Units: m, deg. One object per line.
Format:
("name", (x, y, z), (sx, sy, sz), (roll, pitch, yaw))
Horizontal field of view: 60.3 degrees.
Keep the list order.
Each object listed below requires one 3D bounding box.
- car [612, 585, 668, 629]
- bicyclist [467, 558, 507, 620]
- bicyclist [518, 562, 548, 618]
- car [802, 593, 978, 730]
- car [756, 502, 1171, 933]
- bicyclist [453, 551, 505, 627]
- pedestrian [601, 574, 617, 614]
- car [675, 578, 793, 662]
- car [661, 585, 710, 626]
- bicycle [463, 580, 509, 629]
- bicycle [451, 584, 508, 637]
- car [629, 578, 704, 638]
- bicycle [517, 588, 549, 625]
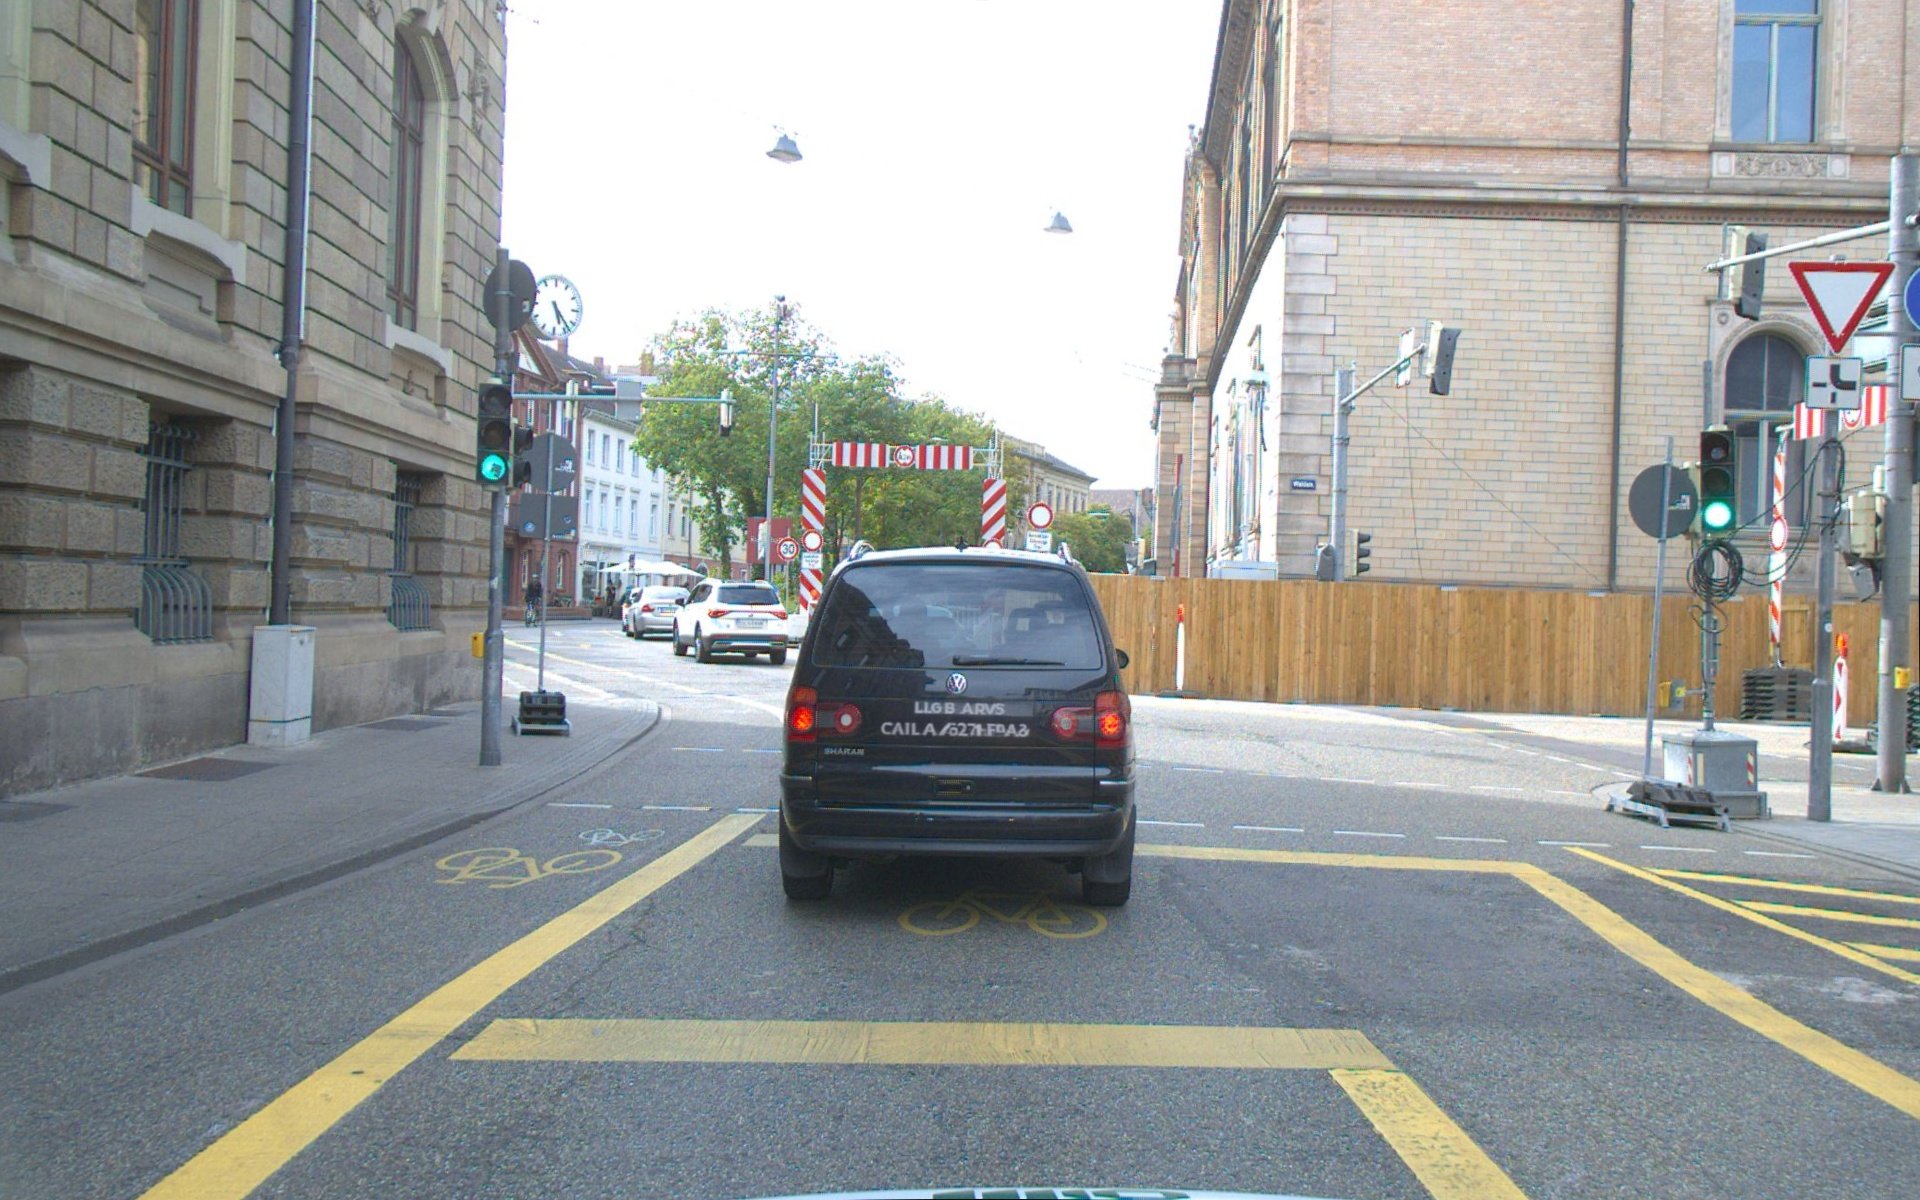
("car", (-10.492, 0.224, 54.102), (1.621, 1.344, 3.662), (1, 0, -14))
("bicyclist", (-12.795, -0.289, 44.771), (0.909, 1.637, 1.061), (1, -1, -11))
("bicyclist", (-15.530, -0.343, 60.200), (0.909, 1.997, 1.103), (1, -1, -11))
("car", (-0.973, 0.699, 20.617), (1.647, 1.494, 4.093), (2, 0, -10))
("car", (0.008, 0.523, 9.259), (1.753, 1.821, 4.103), (2, 0, 0))
("bicyclist", (-12.045, -0.266, 41.424), (1.071, 1.856, 1.362), (1, -1, -11))
("pedestrian", (-17.817, -0.306, 83.944), (0.573, 2.049, 0.686), (1, -1, 0))
("car", (-4.733, 0.401, 34.223), (1.745, 1.613, 3.980), (1, 0, -18))
("car", (-11.453, 0.238, 69.175), (1.739, 1.613, 3.995), (1, 0, -6))
("bicycle", (-12.815, 0.130, 44.766), (0.909, 1.277, 2.535), (1, 0, -10))
("bicycle", (-12.089, 0.264, 41.684), (1.037, 1.277, 3.033), (1, 0, -10))
("car", (-8.114, 0.220, 45.551), (1.675, 1.527, 3.984), (1, 0, -15))
("bicycle", (-15.545, 0.235, 60.208), (0.909, 1.277, 2.535), (1, 0, -10))
